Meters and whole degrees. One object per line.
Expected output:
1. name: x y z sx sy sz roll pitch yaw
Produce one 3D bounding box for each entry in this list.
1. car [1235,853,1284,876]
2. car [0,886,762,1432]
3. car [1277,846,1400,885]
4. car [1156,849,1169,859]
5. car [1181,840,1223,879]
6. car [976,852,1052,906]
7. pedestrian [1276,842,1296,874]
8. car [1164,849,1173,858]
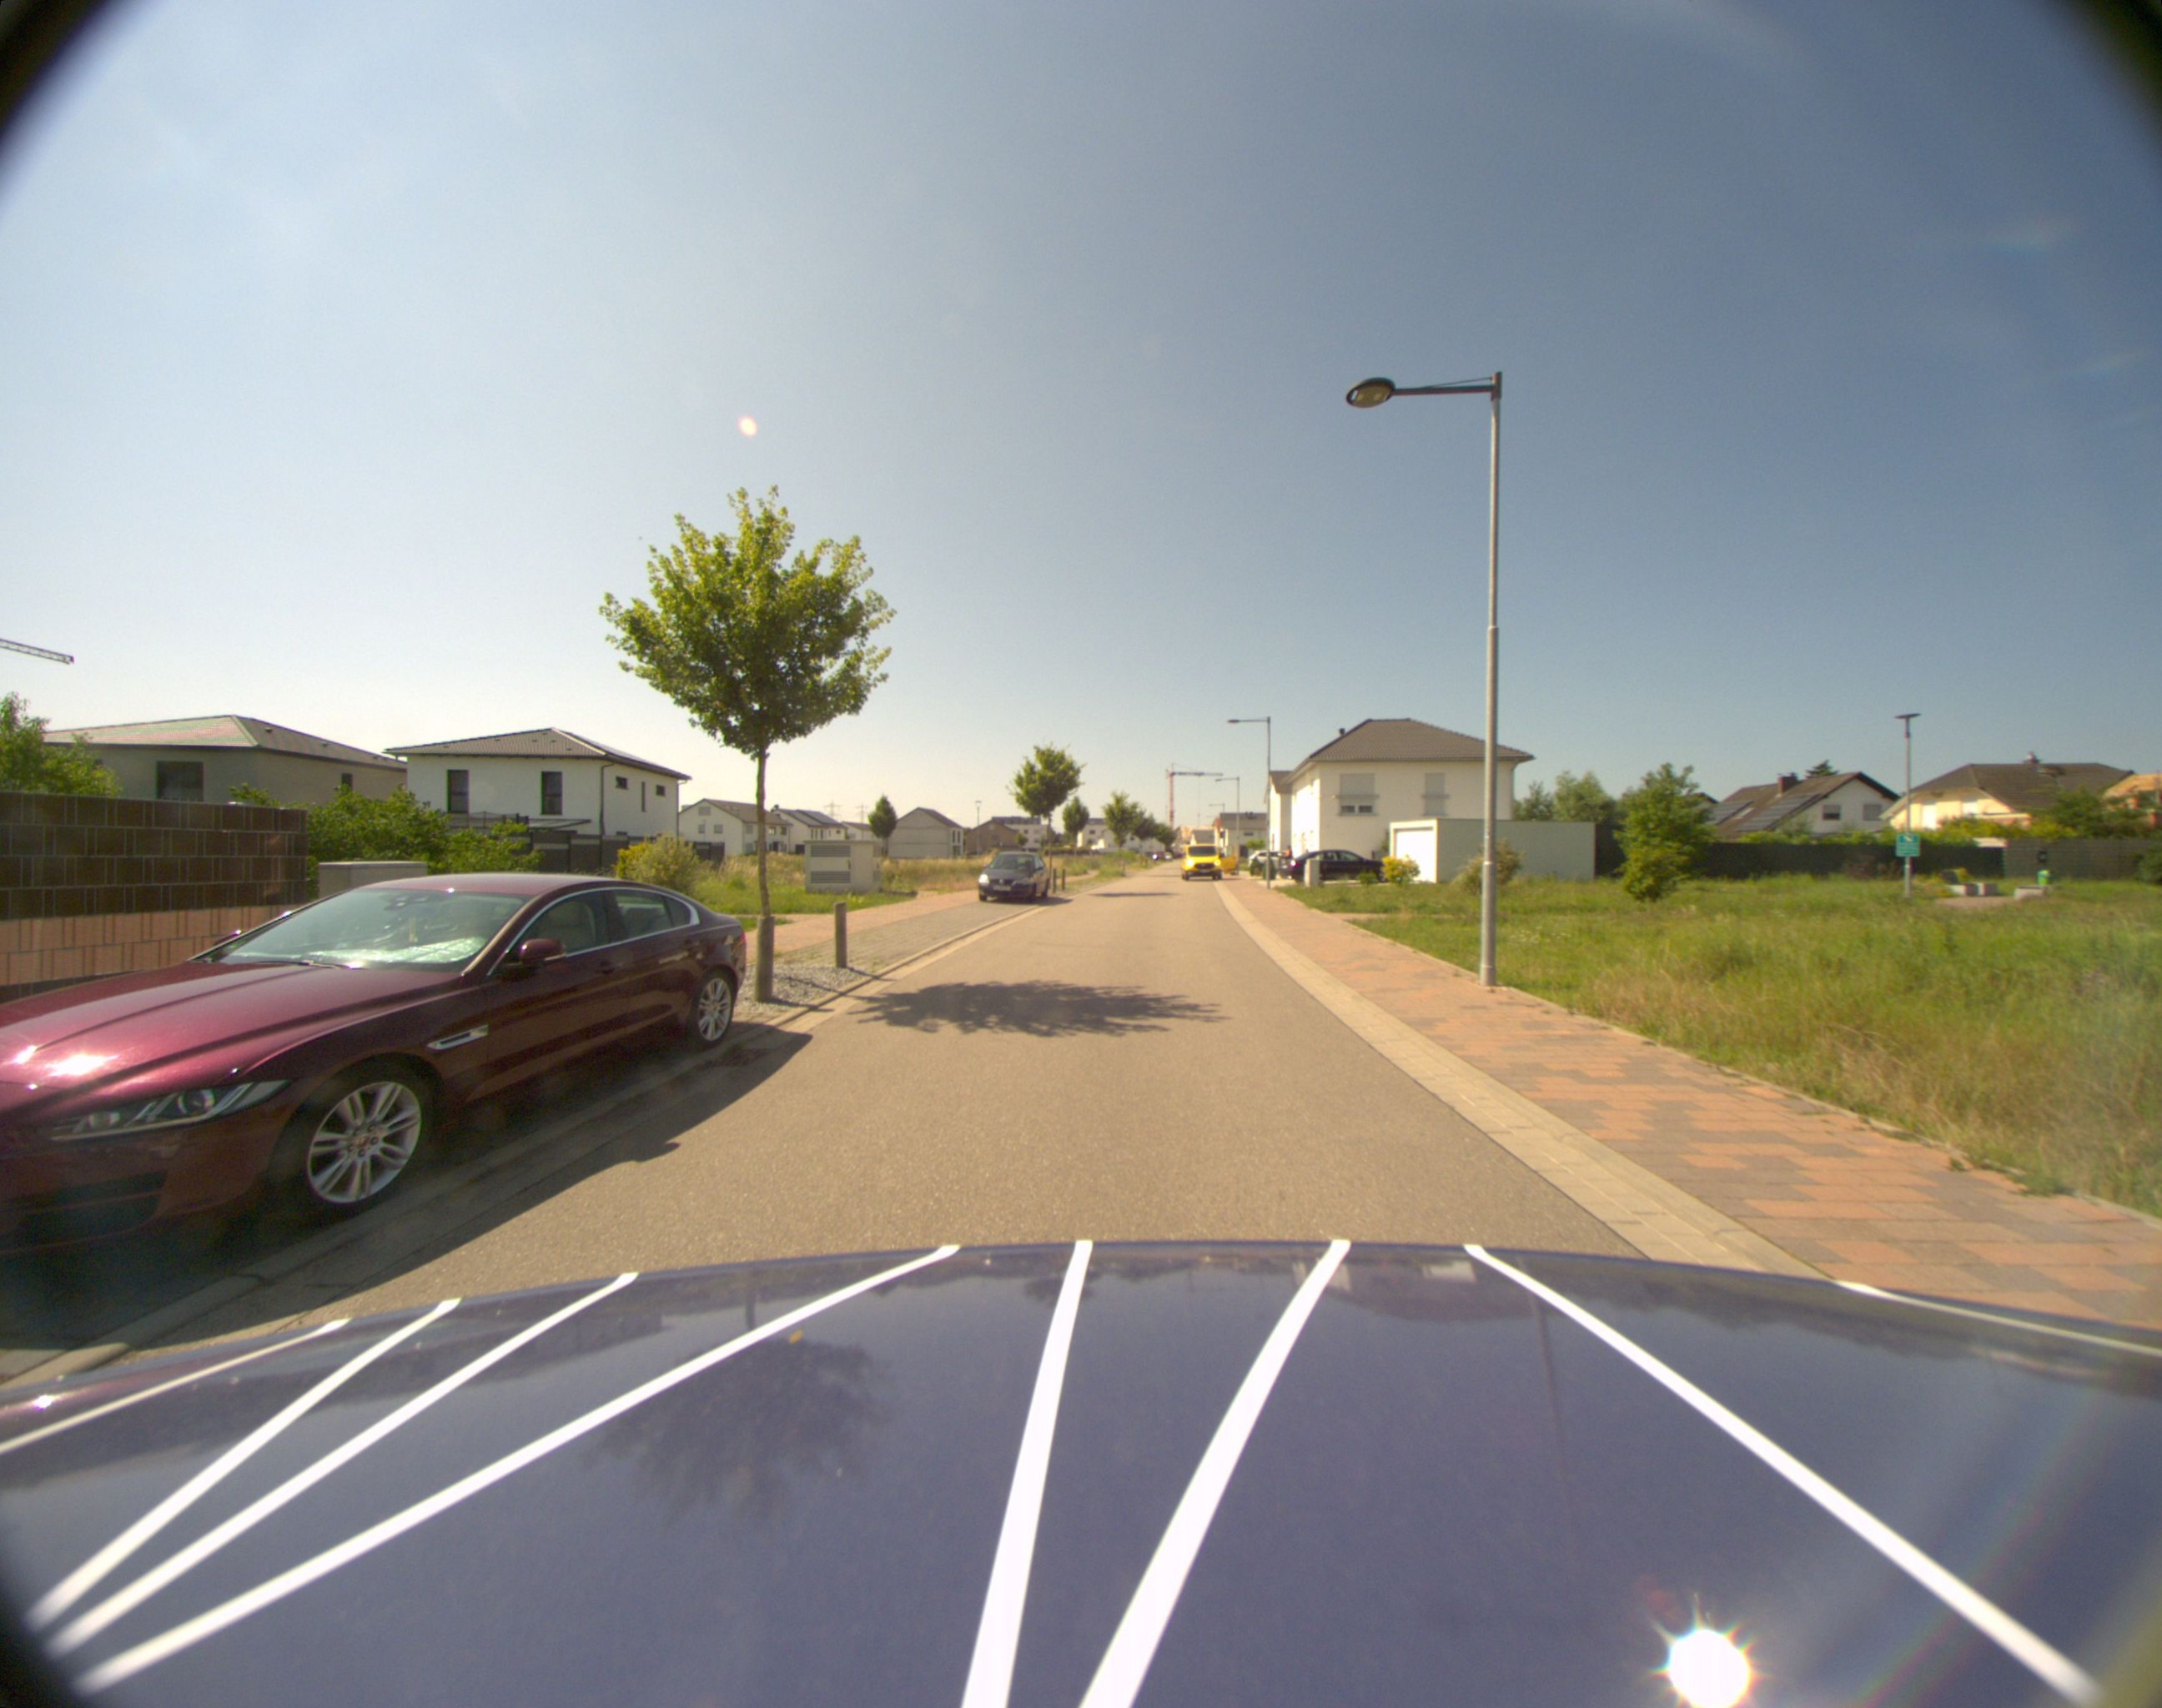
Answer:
1. car: 15.286 0.884 65.164 3.994 1.842 2.001 0 1 9
2. car: -3.860 0.994 4.547 1.758 1.355 4.576 1 0 3
3. car: 10.445 0.445 31.020 4.405 1.444 1.748 -1 1 -5
4. car: 12.227 -0.071 114.207 1.767 1.483 4.002 0 1 8
5. car: 6.646 0.257 42.143 1.888 2.002 4.842 -1 0 5
6. car: -1.987 0.700 23.505 1.601 1.466 3.676 2 1 6
7. pedestrian: 11.037 0.235 40.879 0.931 1.675 0.538 -2 1 18
8. car: 15.241 -0.099 132.223 1.492 1.389 3.274 0 1 8
